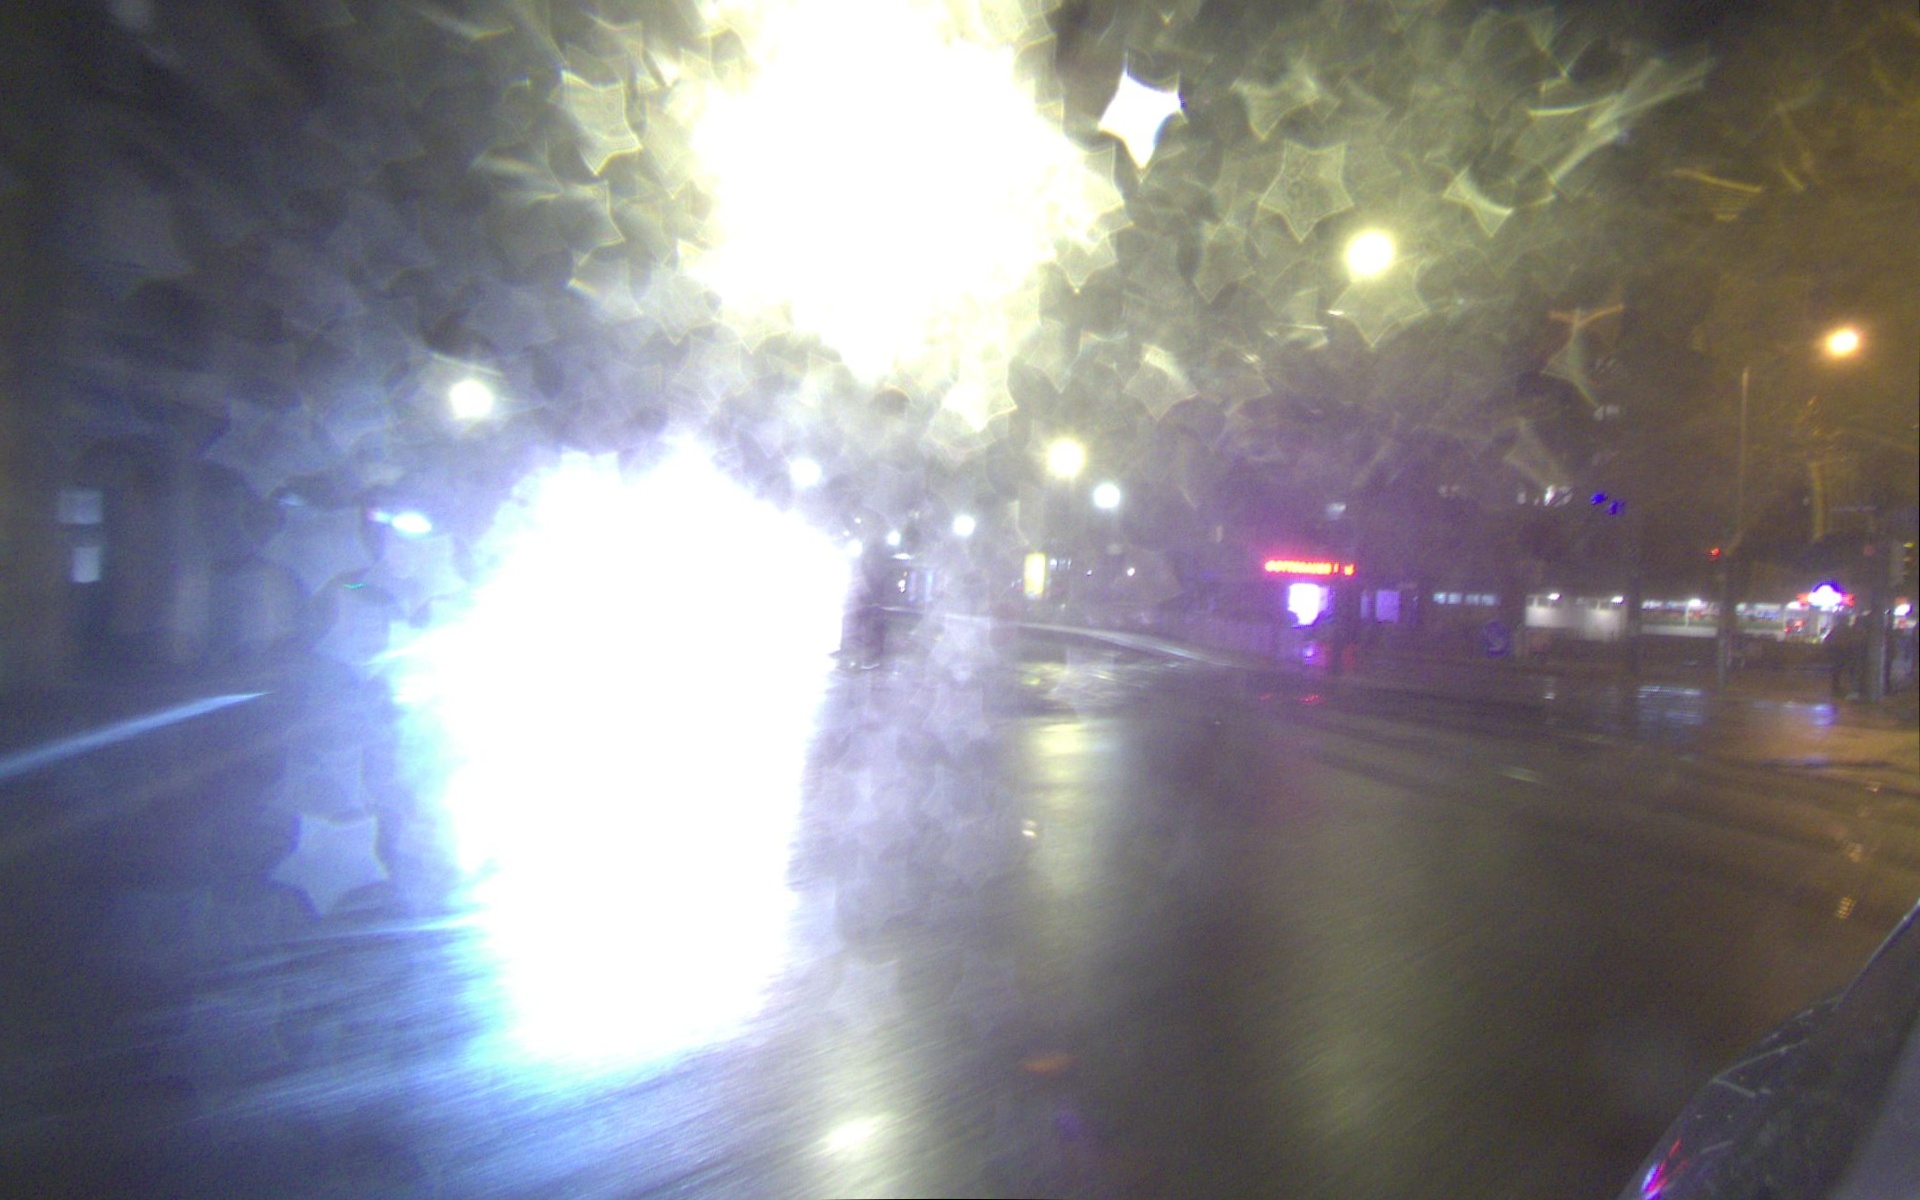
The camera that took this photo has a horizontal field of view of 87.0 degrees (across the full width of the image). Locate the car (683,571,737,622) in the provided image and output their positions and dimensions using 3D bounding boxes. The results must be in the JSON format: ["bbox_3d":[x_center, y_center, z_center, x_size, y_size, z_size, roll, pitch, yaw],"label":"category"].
[{"bbox_3d":[-8.585,-0.144,34.652,1.655,1.599,3.737,2,0,-15],"label":"car"}]

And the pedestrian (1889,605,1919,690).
[{"bbox_3d":[21.462,1.058,22.406,0.835,1.848,1.111,3,0,-36],"label":"pedestrian"}]

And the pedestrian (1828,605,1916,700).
[{"bbox_3d":[18.625,1.054,20.676,0.834,1.848,1.111,3,0,-33],"label":"pedestrian"}]

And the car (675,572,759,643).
[{"bbox_3d":[-6.196,0.151,25.561,1.706,1.599,3.807,2,0,-18],"label":"car"}]

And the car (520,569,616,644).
[{"bbox_3d":[-9.379,0.124,24.523,1.881,1.599,4.600,2,0,-18],"label":"car"}]
